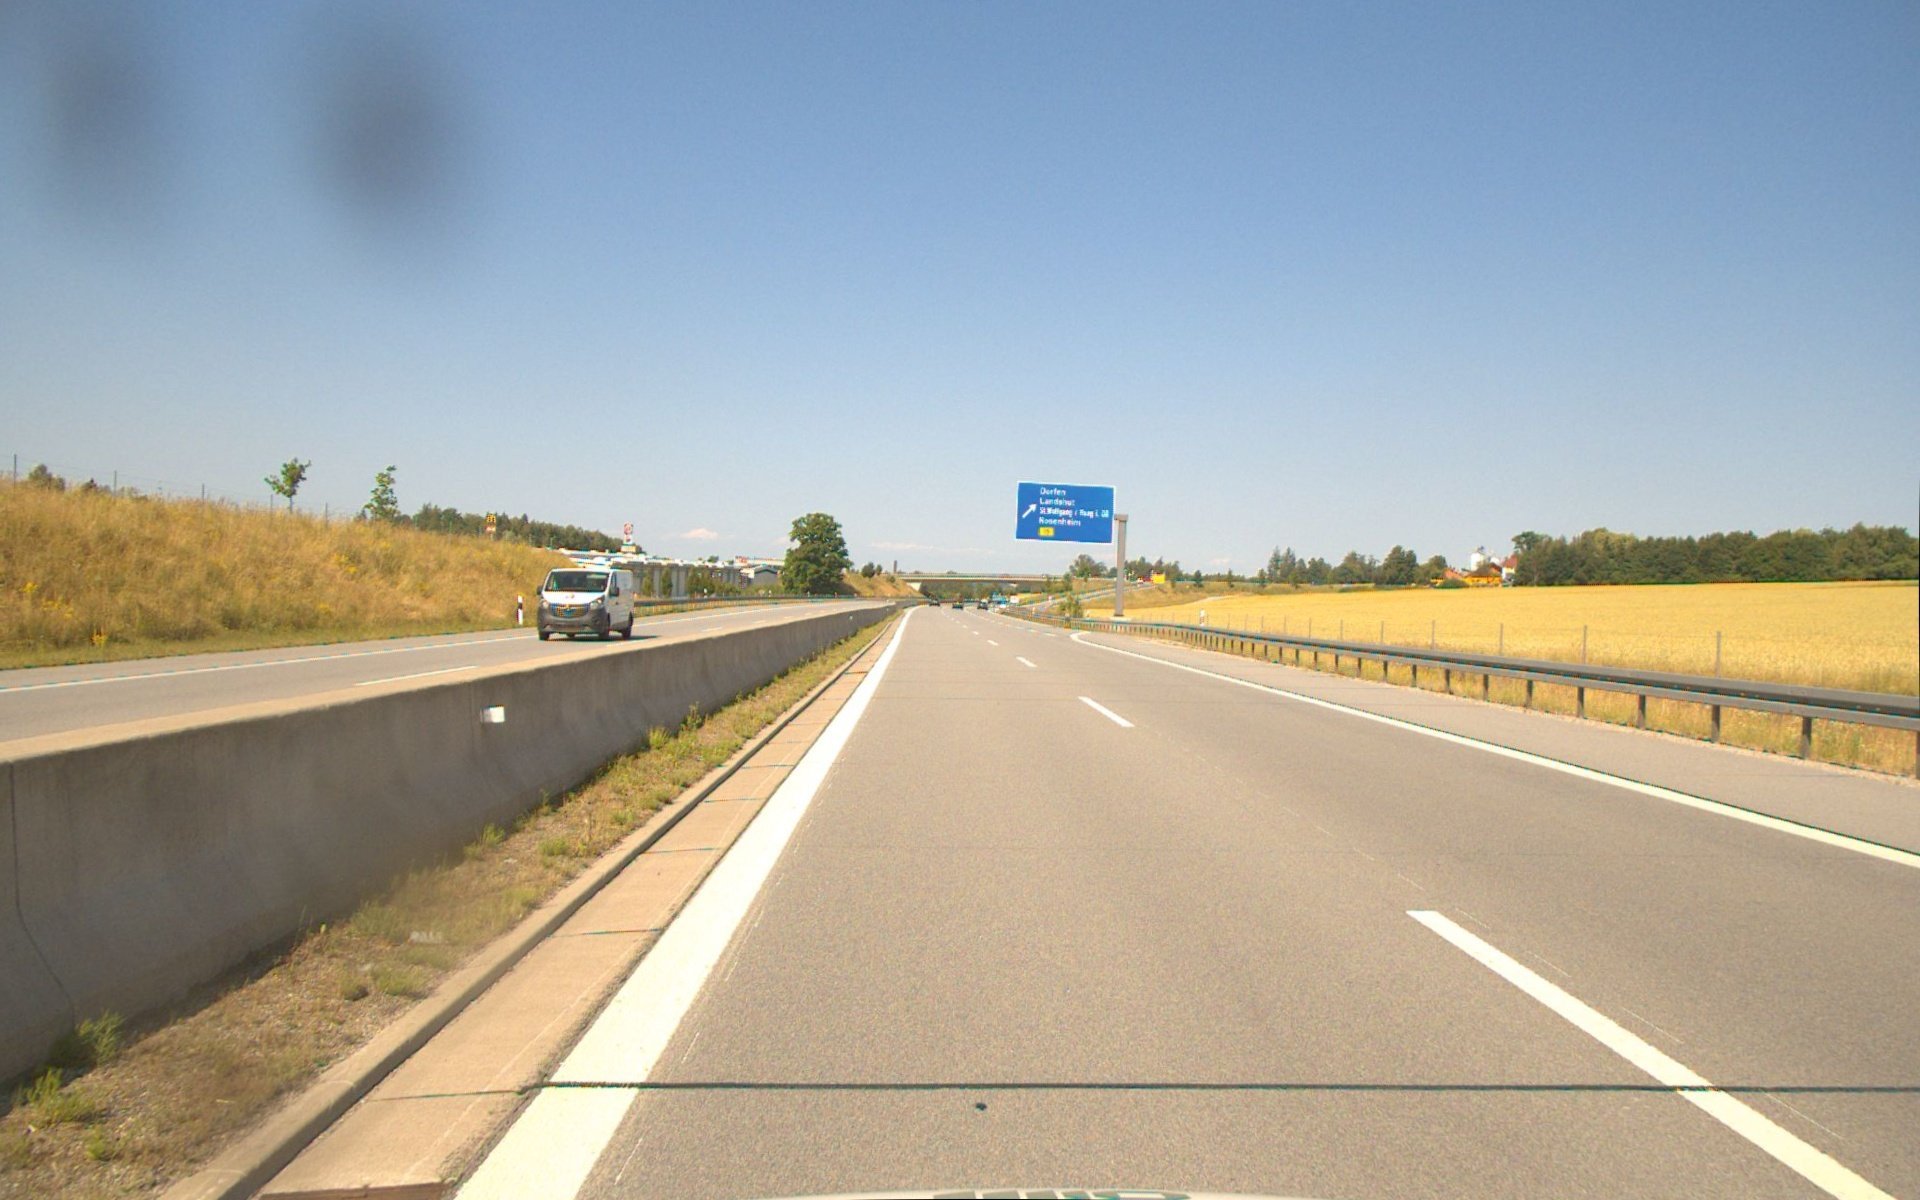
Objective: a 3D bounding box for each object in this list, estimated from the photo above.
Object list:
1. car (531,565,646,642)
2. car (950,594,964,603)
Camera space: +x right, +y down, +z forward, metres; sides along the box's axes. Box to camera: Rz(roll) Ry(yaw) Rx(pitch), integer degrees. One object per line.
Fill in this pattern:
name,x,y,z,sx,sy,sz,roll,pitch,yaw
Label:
car,-10.350,0.084,46.528,2.189,1.968,5.791,1,0,-3
car,-0.463,-0.212,262.023,1.952,1.445,4.001,2,0,2
